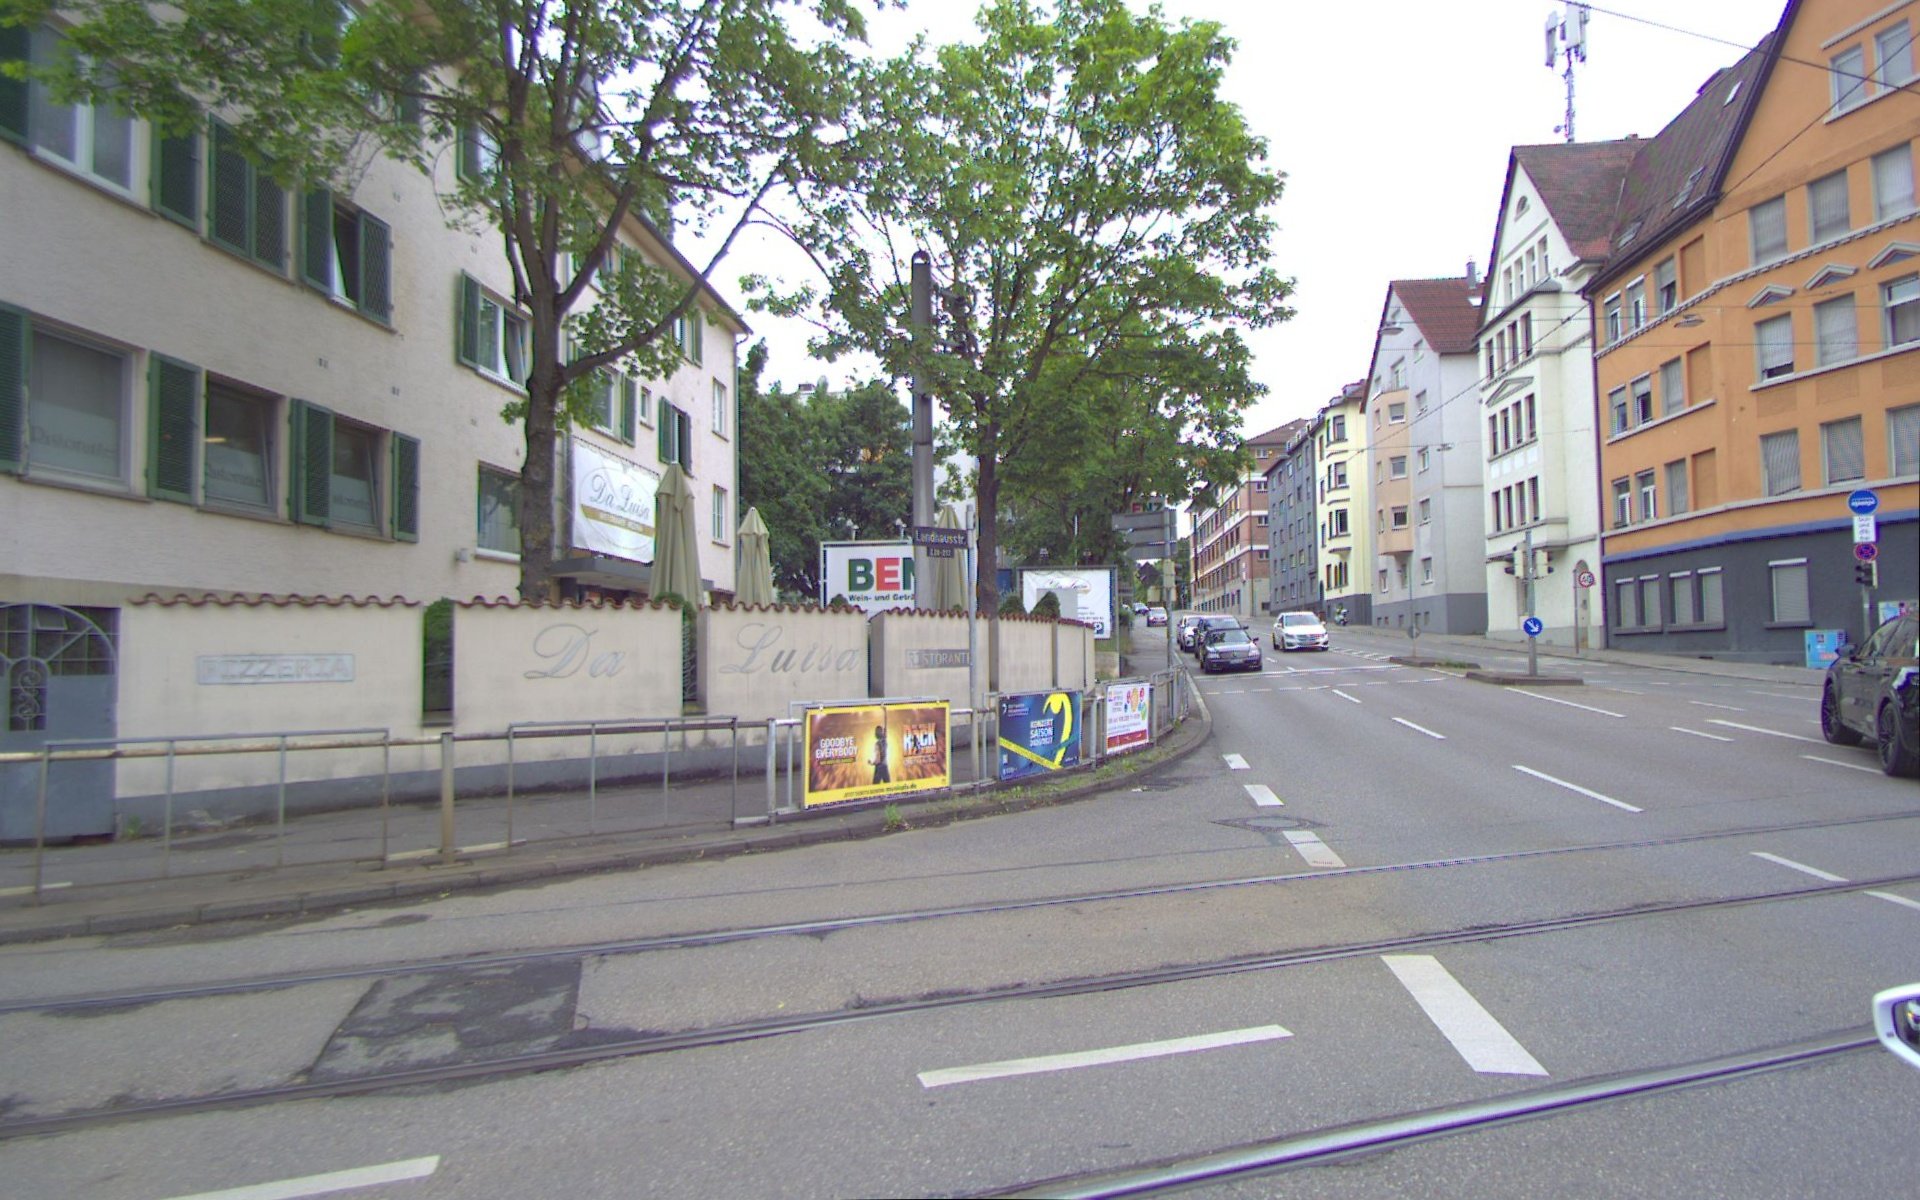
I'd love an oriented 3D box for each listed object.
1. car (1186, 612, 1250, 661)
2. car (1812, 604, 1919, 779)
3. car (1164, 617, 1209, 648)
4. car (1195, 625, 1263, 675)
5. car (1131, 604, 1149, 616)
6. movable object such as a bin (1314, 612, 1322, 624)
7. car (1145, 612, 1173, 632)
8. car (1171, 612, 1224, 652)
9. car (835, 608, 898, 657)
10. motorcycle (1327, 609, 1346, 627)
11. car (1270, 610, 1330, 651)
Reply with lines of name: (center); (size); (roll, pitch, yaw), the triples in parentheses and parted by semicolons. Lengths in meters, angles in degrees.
car: (10.043, 1.394, 39.375); (1.918, 1.664, 4.416); (-4, -1, 9)
car: (10.968, 0.902, 10.954); (1.996, 1.663, 4.344); (0, -1, 33)
car: (11.891, 1.666, 52.971); (1.808, 1.430, 4.076); (-4, -1, 6)
car: (8.661, 1.582, 32.659); (1.771, 1.298, 4.239); (-4, -1, 11)
car: (22.390, 1.255, 125.017); (1.808, 1.467, 4.313); (-3, -1, 6)
movable object such as a bin: (27.511, 1.388, 77.184); (0.466, 0.904, 0.517); (-4, 0, 5)
car: (16.006, 1.781, 80.998); (1.808, 1.467, 4.313); (-3, -1, 6)
car: (10.991, 1.456, 46.734); (1.918, 1.614, 4.500); (-4, -1, 8)
car: (-3.925, 1.317, 42.811); (1.793, 1.927, 4.002); (2, 0, 7)
motorcycle: (26.364, 1.271, 70.409); (0.528, 1.171, 2.227); (-4, 0, 3)
car: (14.131, 1.222, 41.971); (1.745, 1.567, 4.327); (-1, 0, 10)
